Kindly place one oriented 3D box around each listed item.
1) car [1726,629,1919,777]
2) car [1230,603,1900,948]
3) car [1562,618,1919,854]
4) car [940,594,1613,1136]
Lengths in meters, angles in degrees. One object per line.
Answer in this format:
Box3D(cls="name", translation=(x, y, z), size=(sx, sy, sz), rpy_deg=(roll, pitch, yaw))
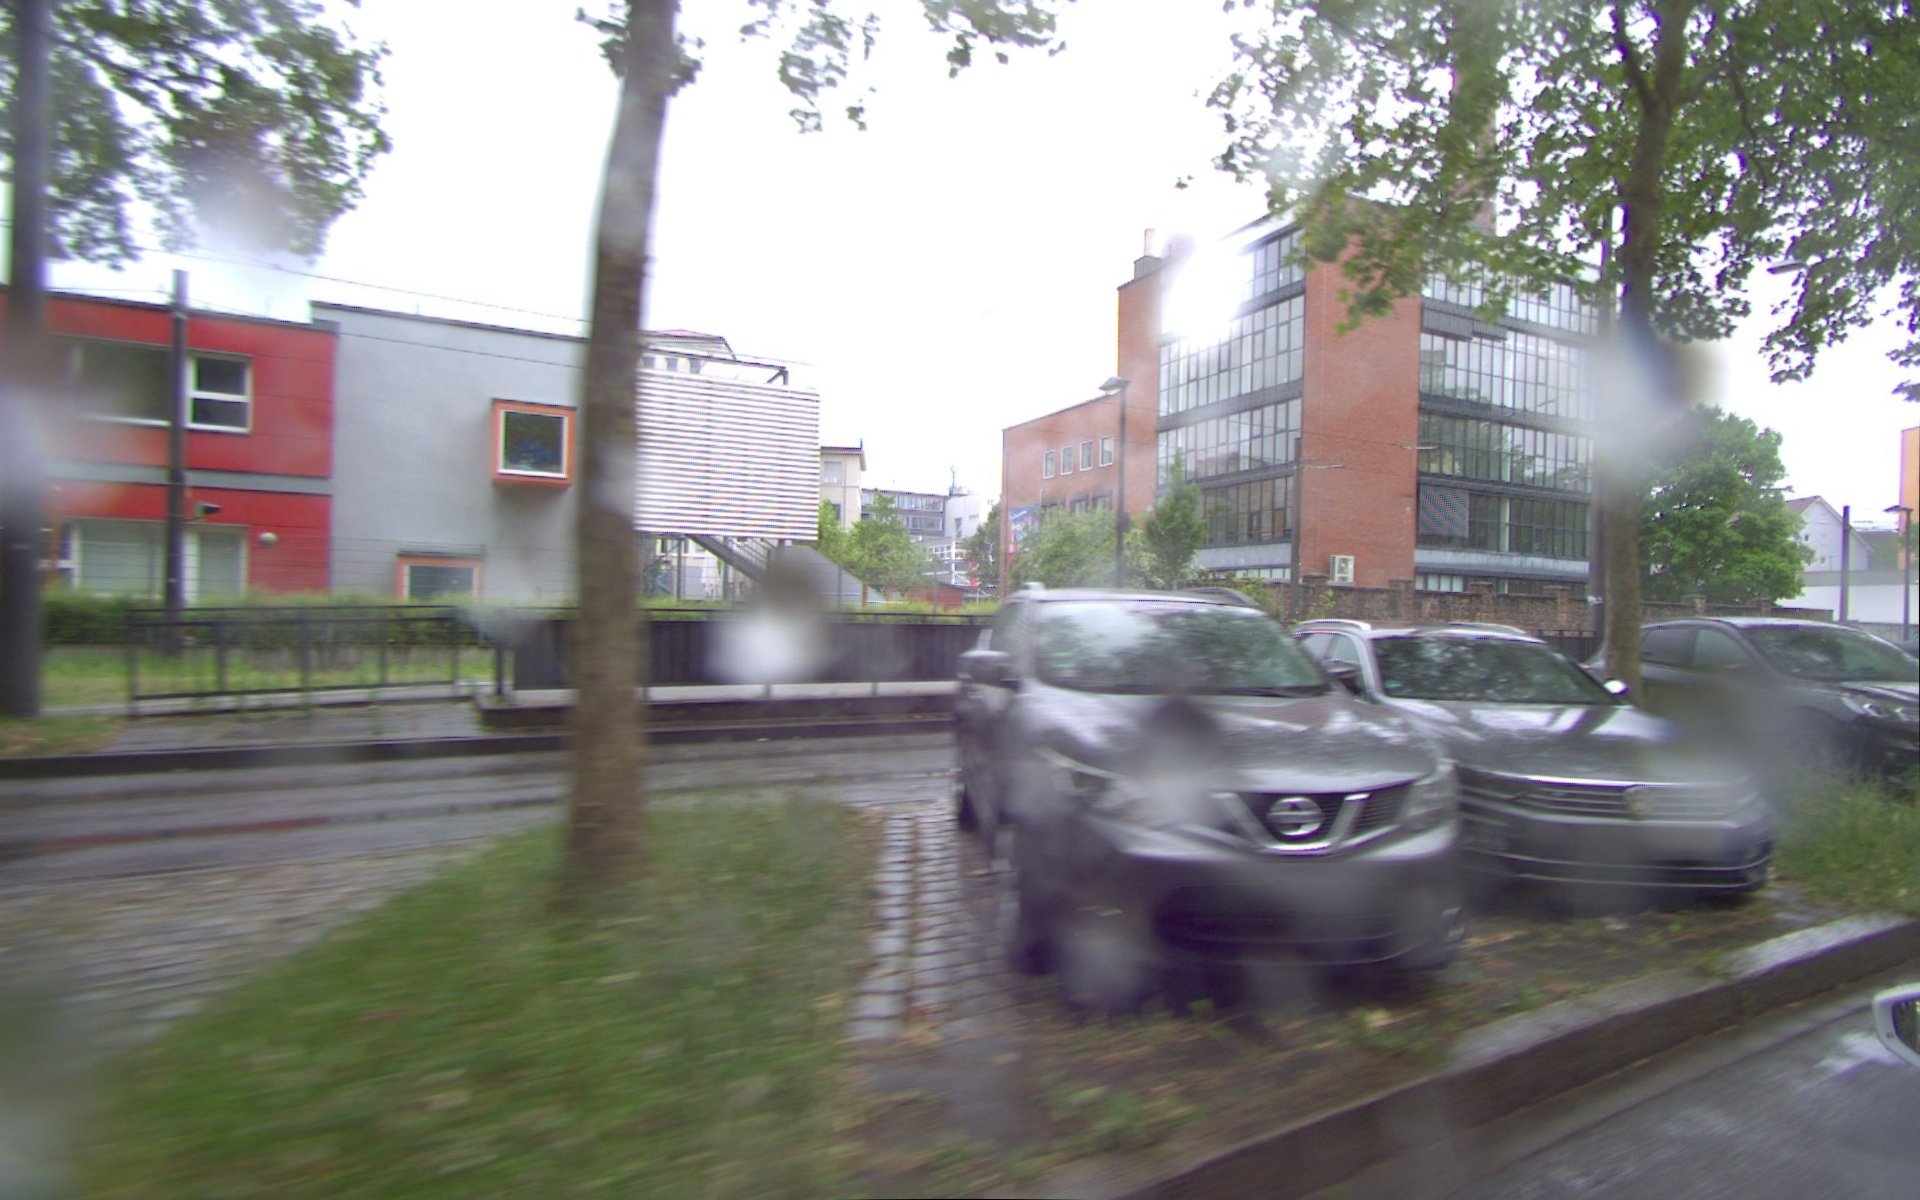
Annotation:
Box3D(cls="car", translation=(11.049, 1.086, 11.013), size=(1.922, 1.532, 4.366), rpy_deg=(-2, -3, 1))
Box3D(cls="car", translation=(3.329, 0.882, 6.818), size=(1.885, 1.541, 4.563), rpy_deg=(0, -2, 2))
Box3D(cls="car", translation=(8.054, 1.073, 9.539), size=(1.922, 1.737, 4.534), rpy_deg=(-2, -3, 1))
Box3D(cls="car", translation=(0.952, 0.832, 5.315), size=(1.886, 1.618, 4.470), rpy_deg=(0, -1, -4))
